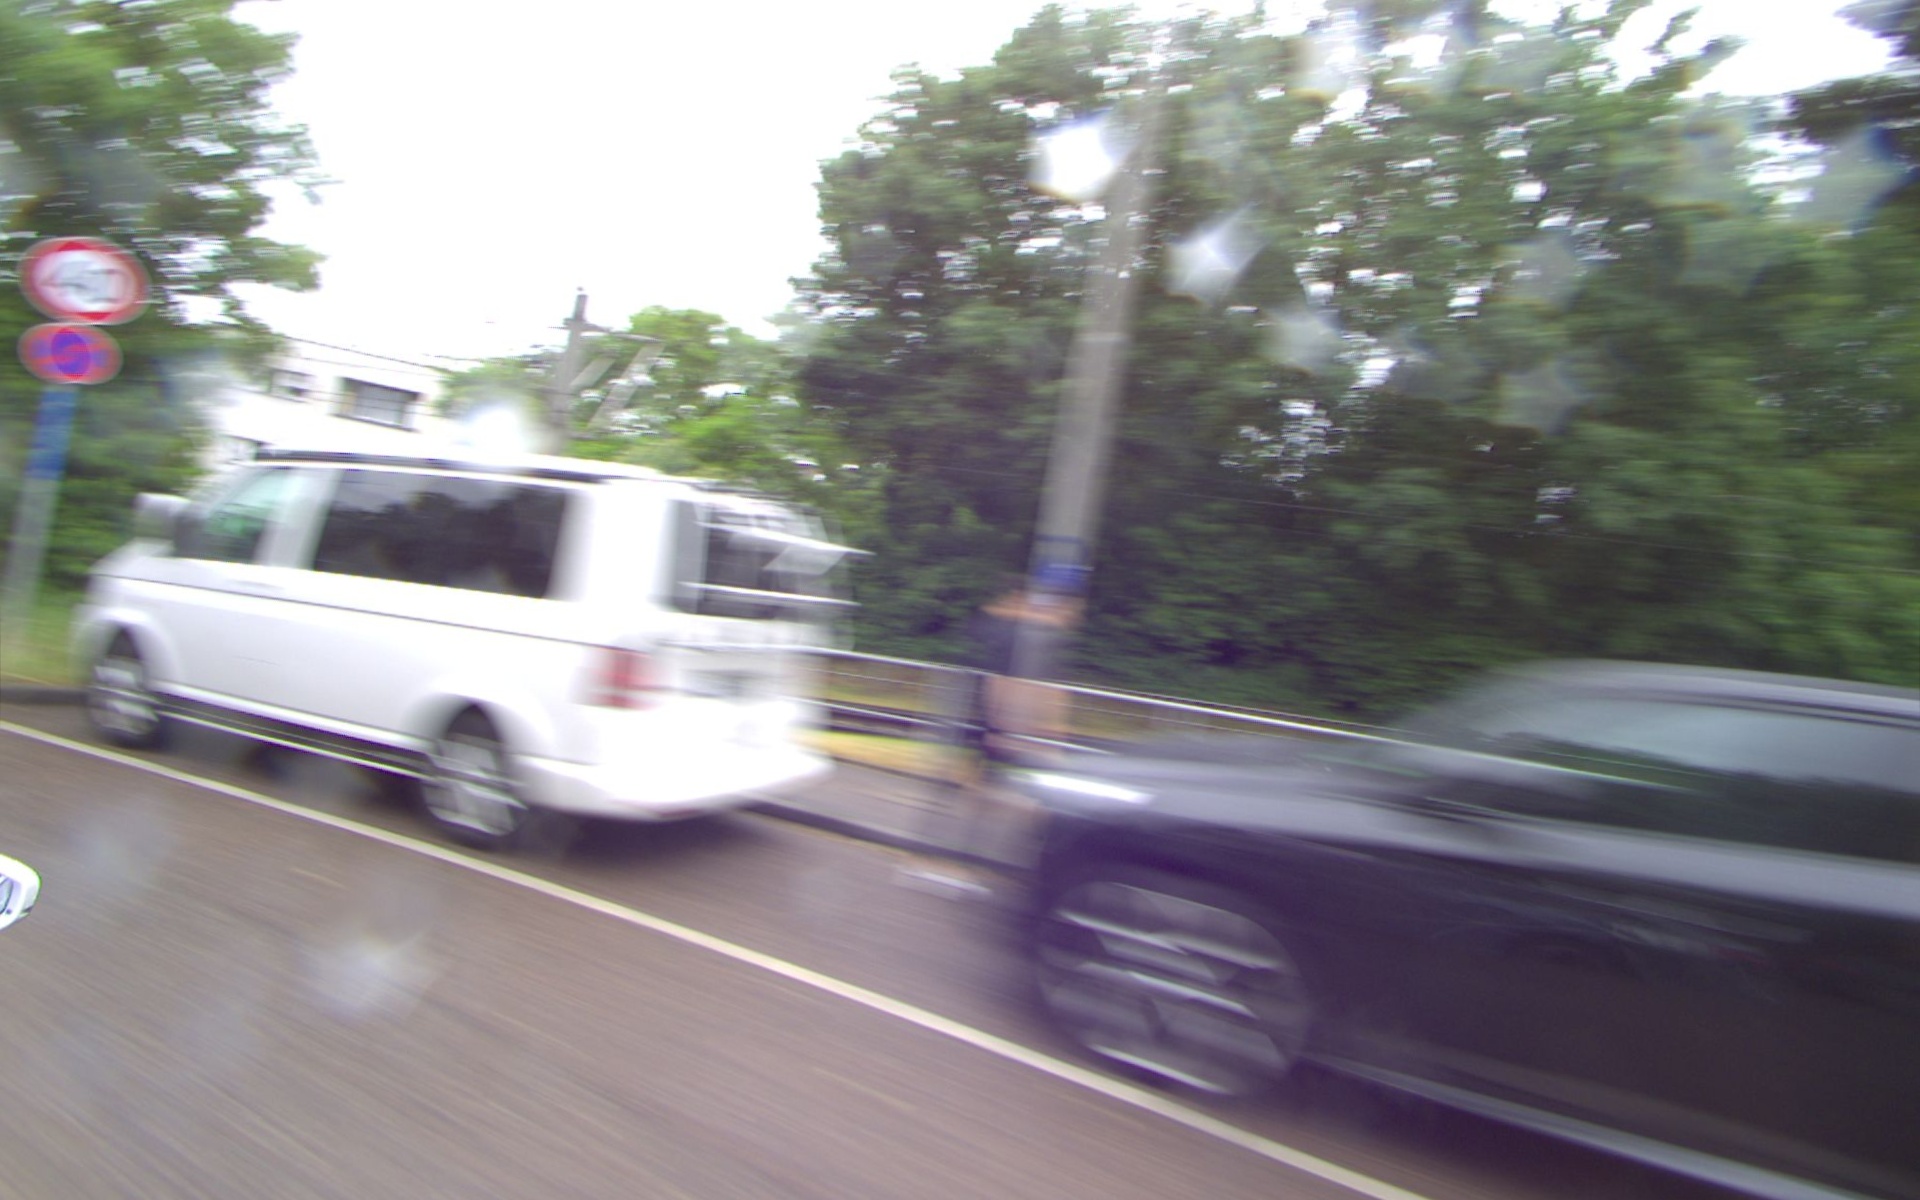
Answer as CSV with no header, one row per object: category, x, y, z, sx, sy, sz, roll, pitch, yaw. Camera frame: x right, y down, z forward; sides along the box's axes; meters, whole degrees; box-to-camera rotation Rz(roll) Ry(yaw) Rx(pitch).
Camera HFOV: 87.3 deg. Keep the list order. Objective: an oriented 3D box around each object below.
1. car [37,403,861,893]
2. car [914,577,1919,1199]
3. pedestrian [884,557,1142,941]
car,-3.189,0.098,6.248,4.606,2.038,1.882,7,0,23
car,2.148,0.959,3.376,4.203,1.575,1.721,6,0,29
pedestrian,0.294,0.697,5.141,0.791,1.683,0.923,8,2,31
